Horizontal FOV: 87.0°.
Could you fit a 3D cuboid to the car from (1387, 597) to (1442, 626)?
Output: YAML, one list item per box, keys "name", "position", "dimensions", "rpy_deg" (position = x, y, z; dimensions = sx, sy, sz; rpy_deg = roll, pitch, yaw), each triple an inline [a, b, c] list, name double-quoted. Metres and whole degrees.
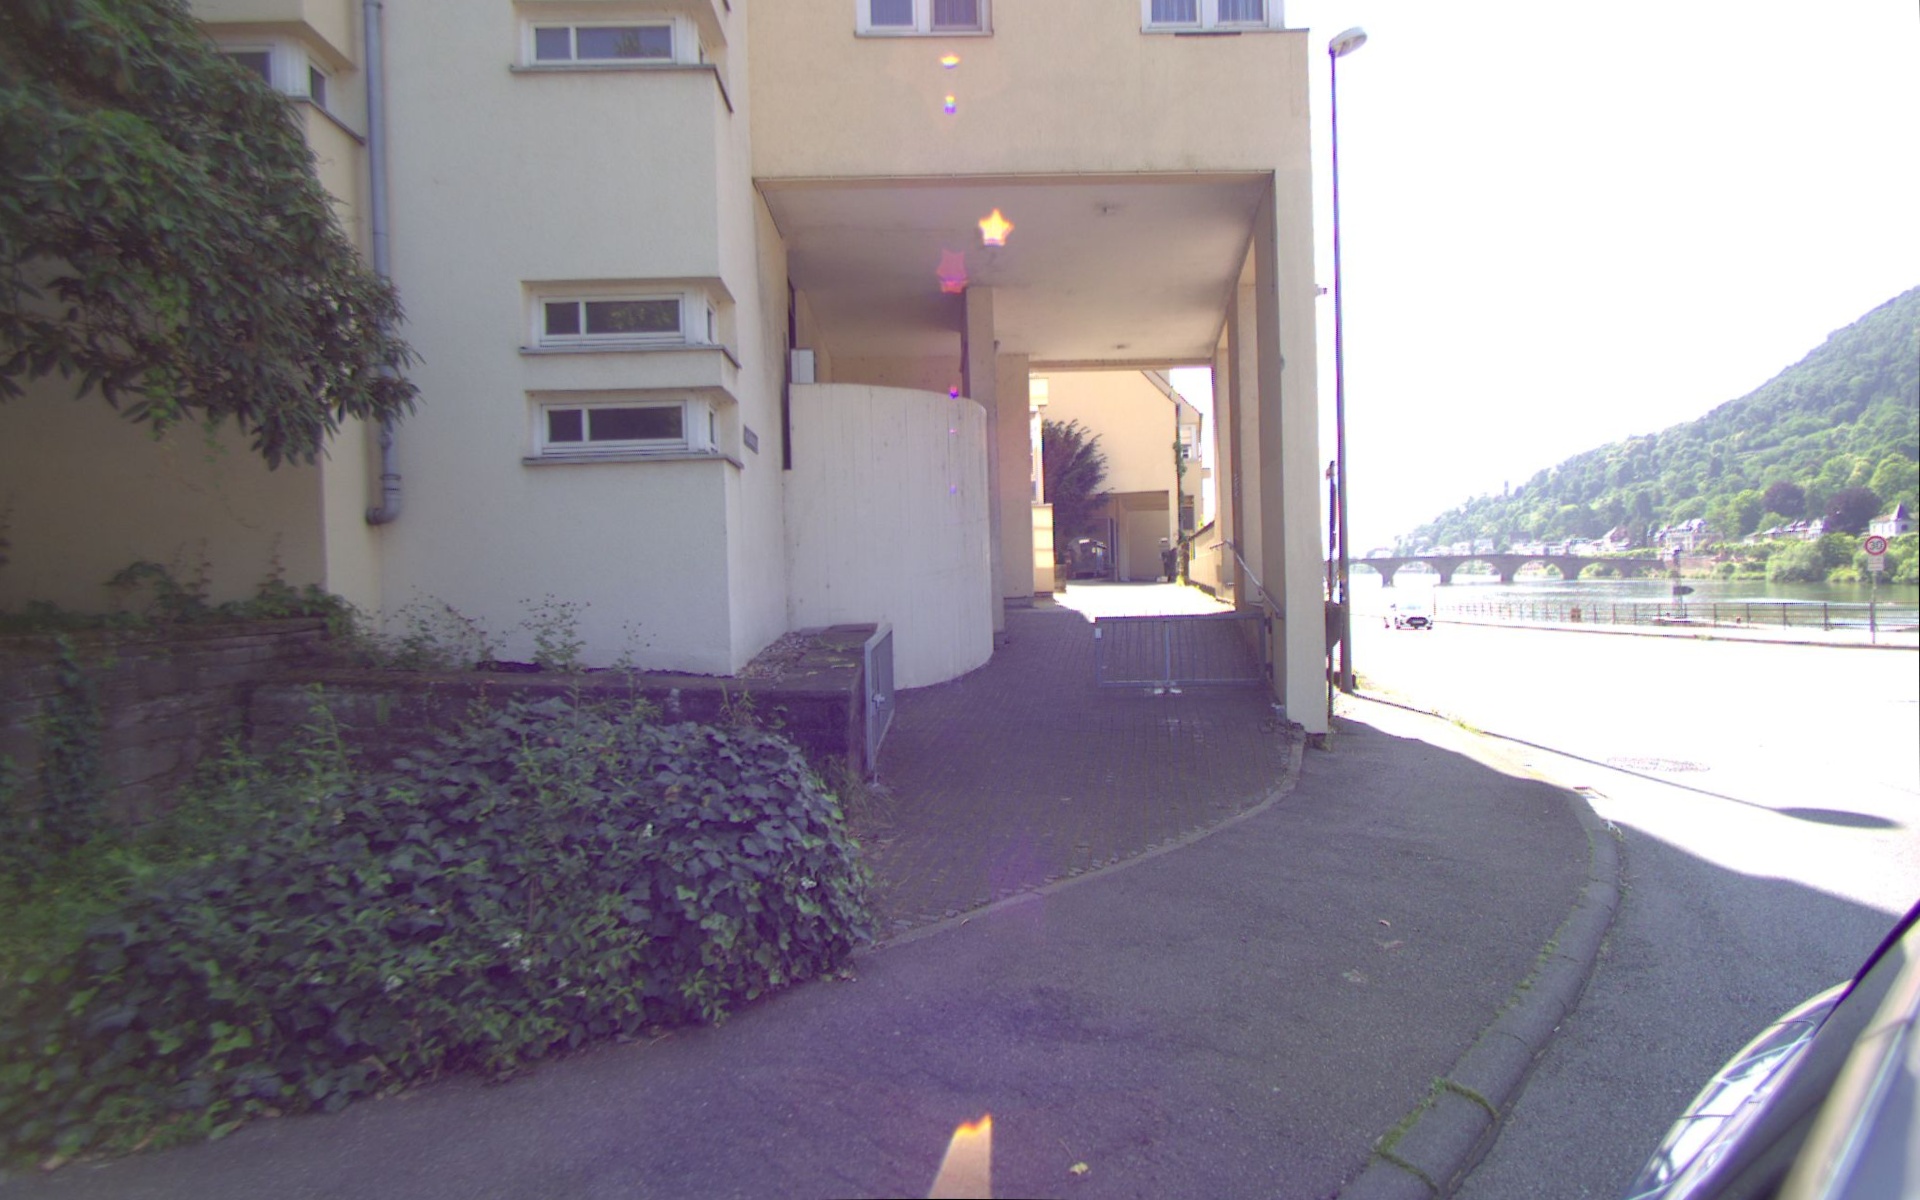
- name: "car"
  position: [23.583, 0.591, 52.652]
  dimensions: [1.972, 1.460, 3.980]
  rpy_deg: [0, 0, 16]
